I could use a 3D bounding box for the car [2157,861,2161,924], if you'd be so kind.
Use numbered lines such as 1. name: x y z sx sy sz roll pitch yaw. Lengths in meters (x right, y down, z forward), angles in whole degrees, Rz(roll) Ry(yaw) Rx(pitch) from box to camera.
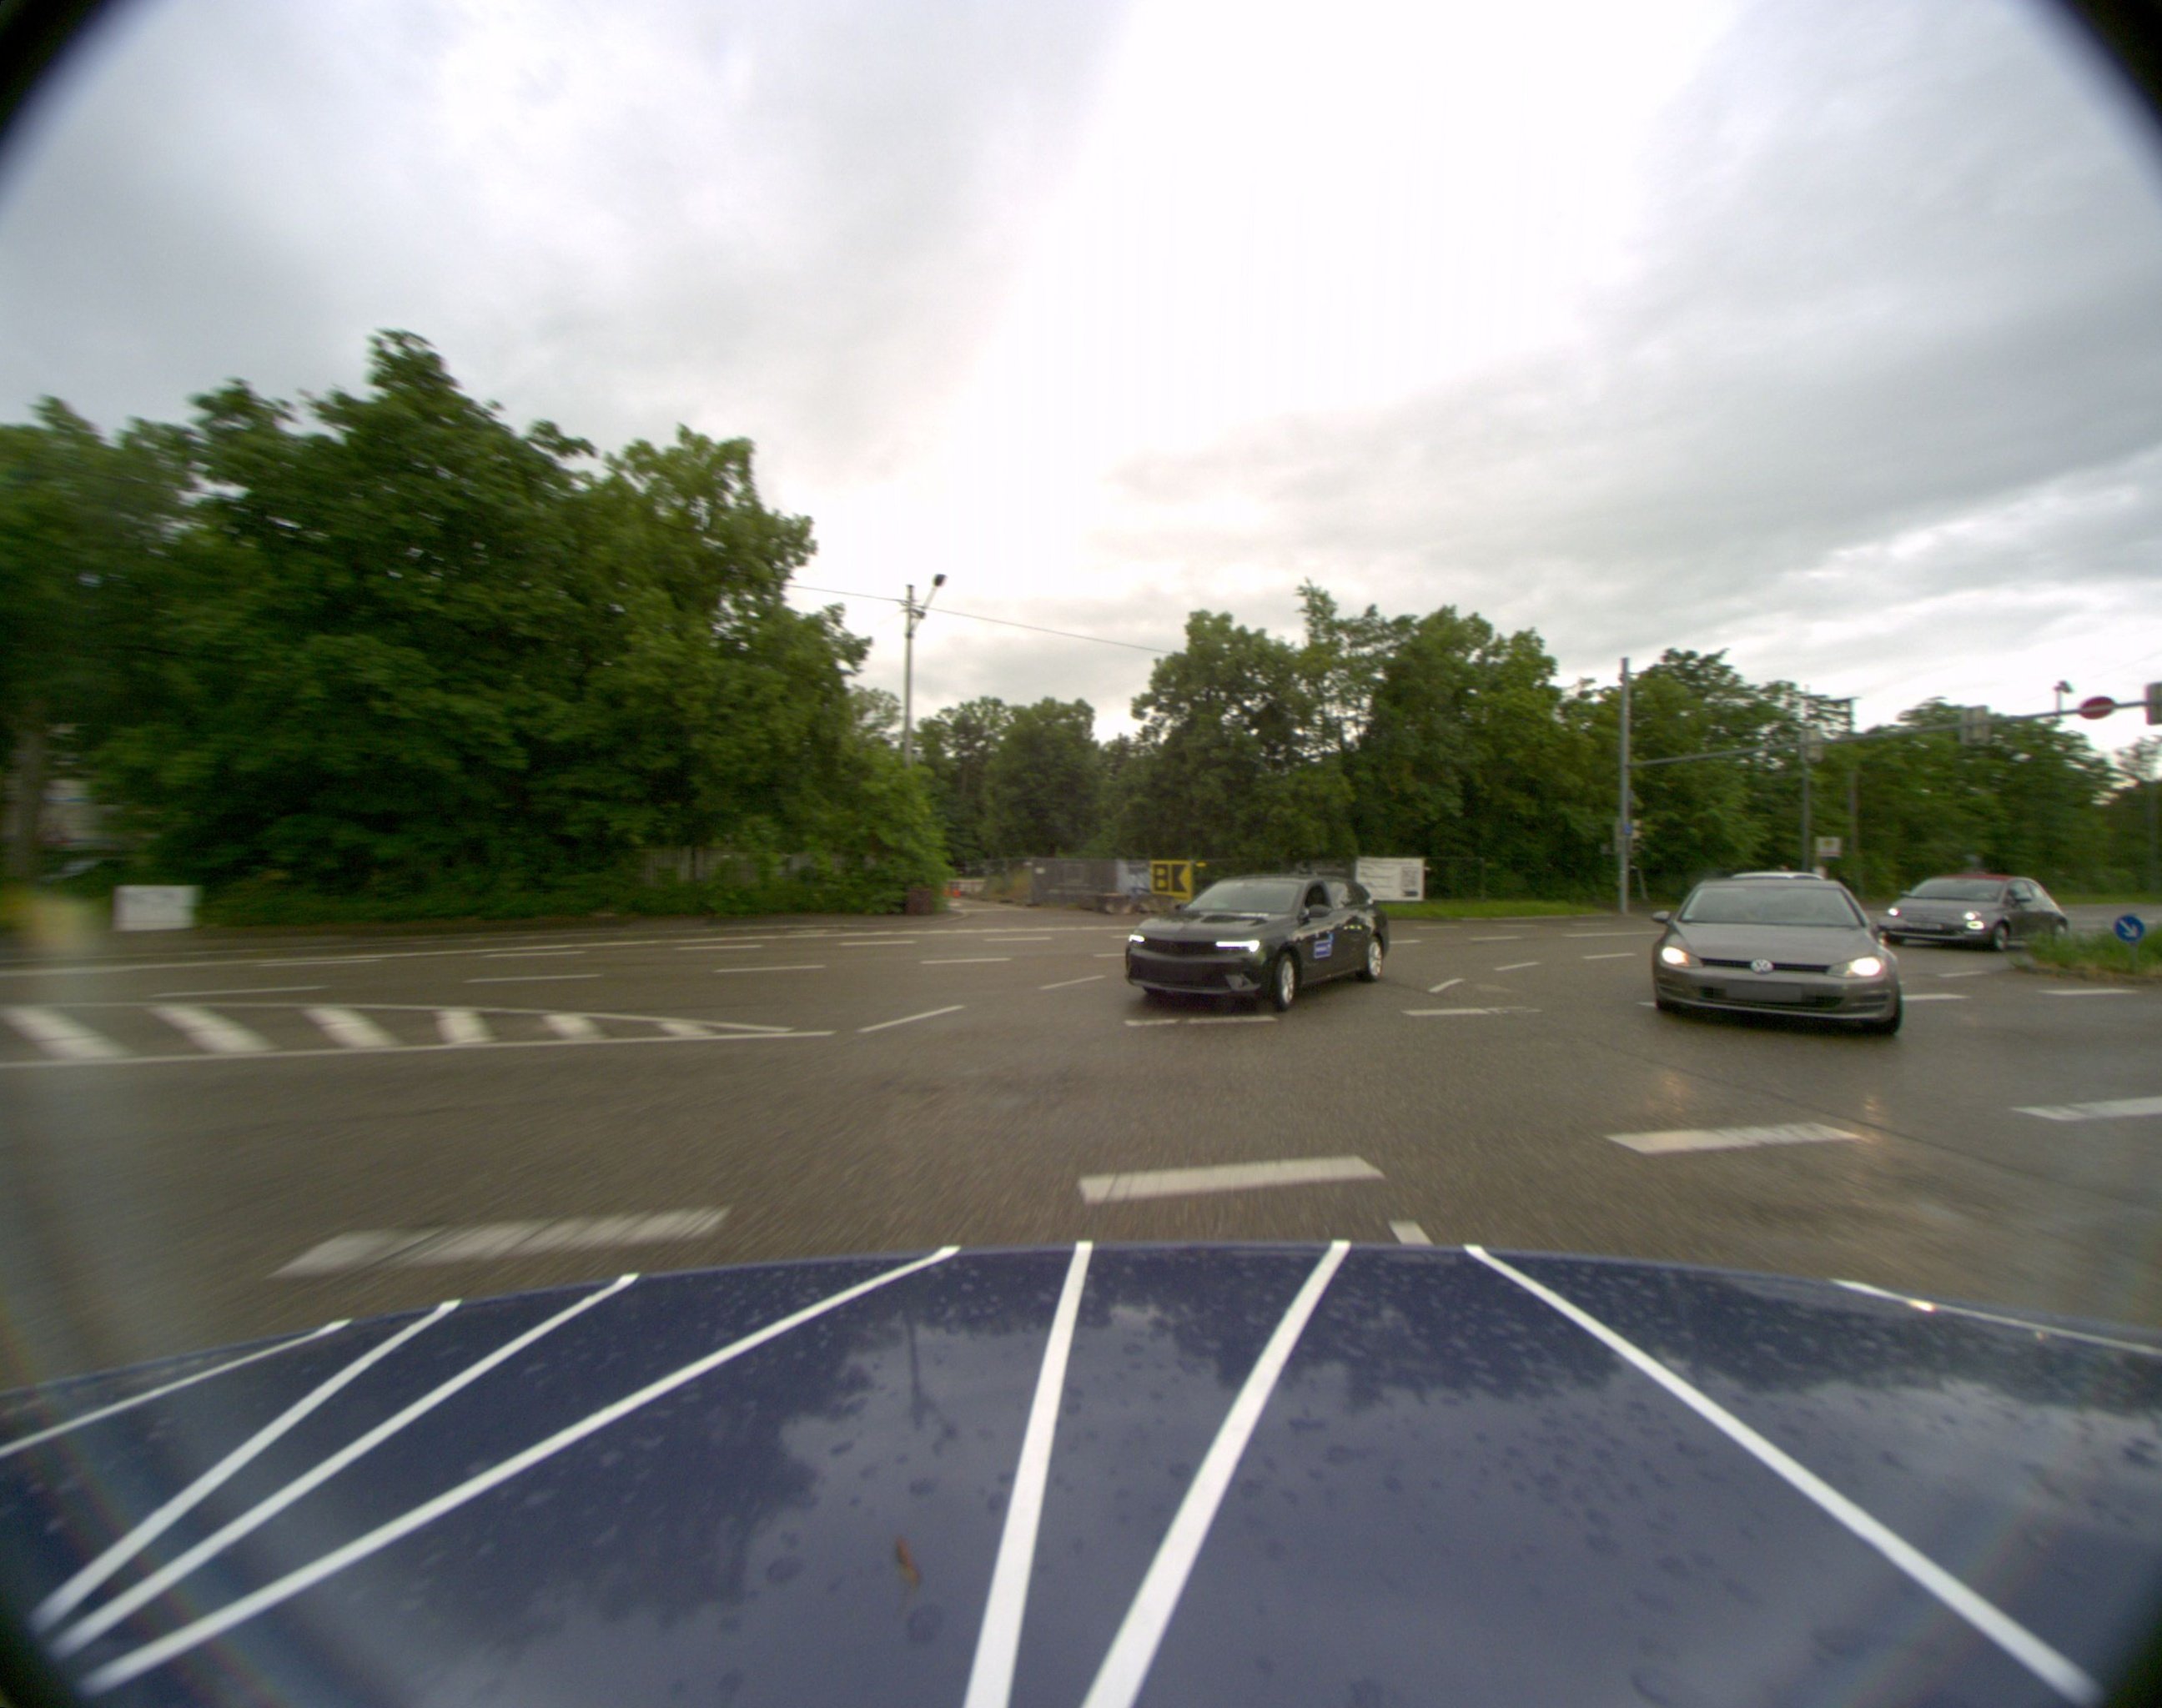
1. car: 32.408 1.079 21.160 4.004 1.761 1.904 0 0 -21

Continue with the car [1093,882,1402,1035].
1. car: 2.314 1.080 9.551 1.800 1.422 4.530 -1 -2 41

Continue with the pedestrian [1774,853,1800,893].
1. pedestrian: 33.444 0.907 35.997 0.700 1.872 0.676 0 0 -21

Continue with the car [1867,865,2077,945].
1. car: 18.601 0.992 15.883 3.661 1.520 1.668 0 0 -20

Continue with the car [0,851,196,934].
1. car: -26.404 0.937 19.763 1.995 2.002 4.007 0 0 25

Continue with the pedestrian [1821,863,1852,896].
1. pedestrian: 38.386 1.289 38.608 0.832 1.666 0.821 0 0 -21

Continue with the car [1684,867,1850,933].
1. car: 17.065 1.081 18.916 3.583 1.511 1.643 0 0 -21

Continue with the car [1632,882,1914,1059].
1. car: 7.586 1.036 8.384 1.900 1.431 4.009 -1 -2 44
